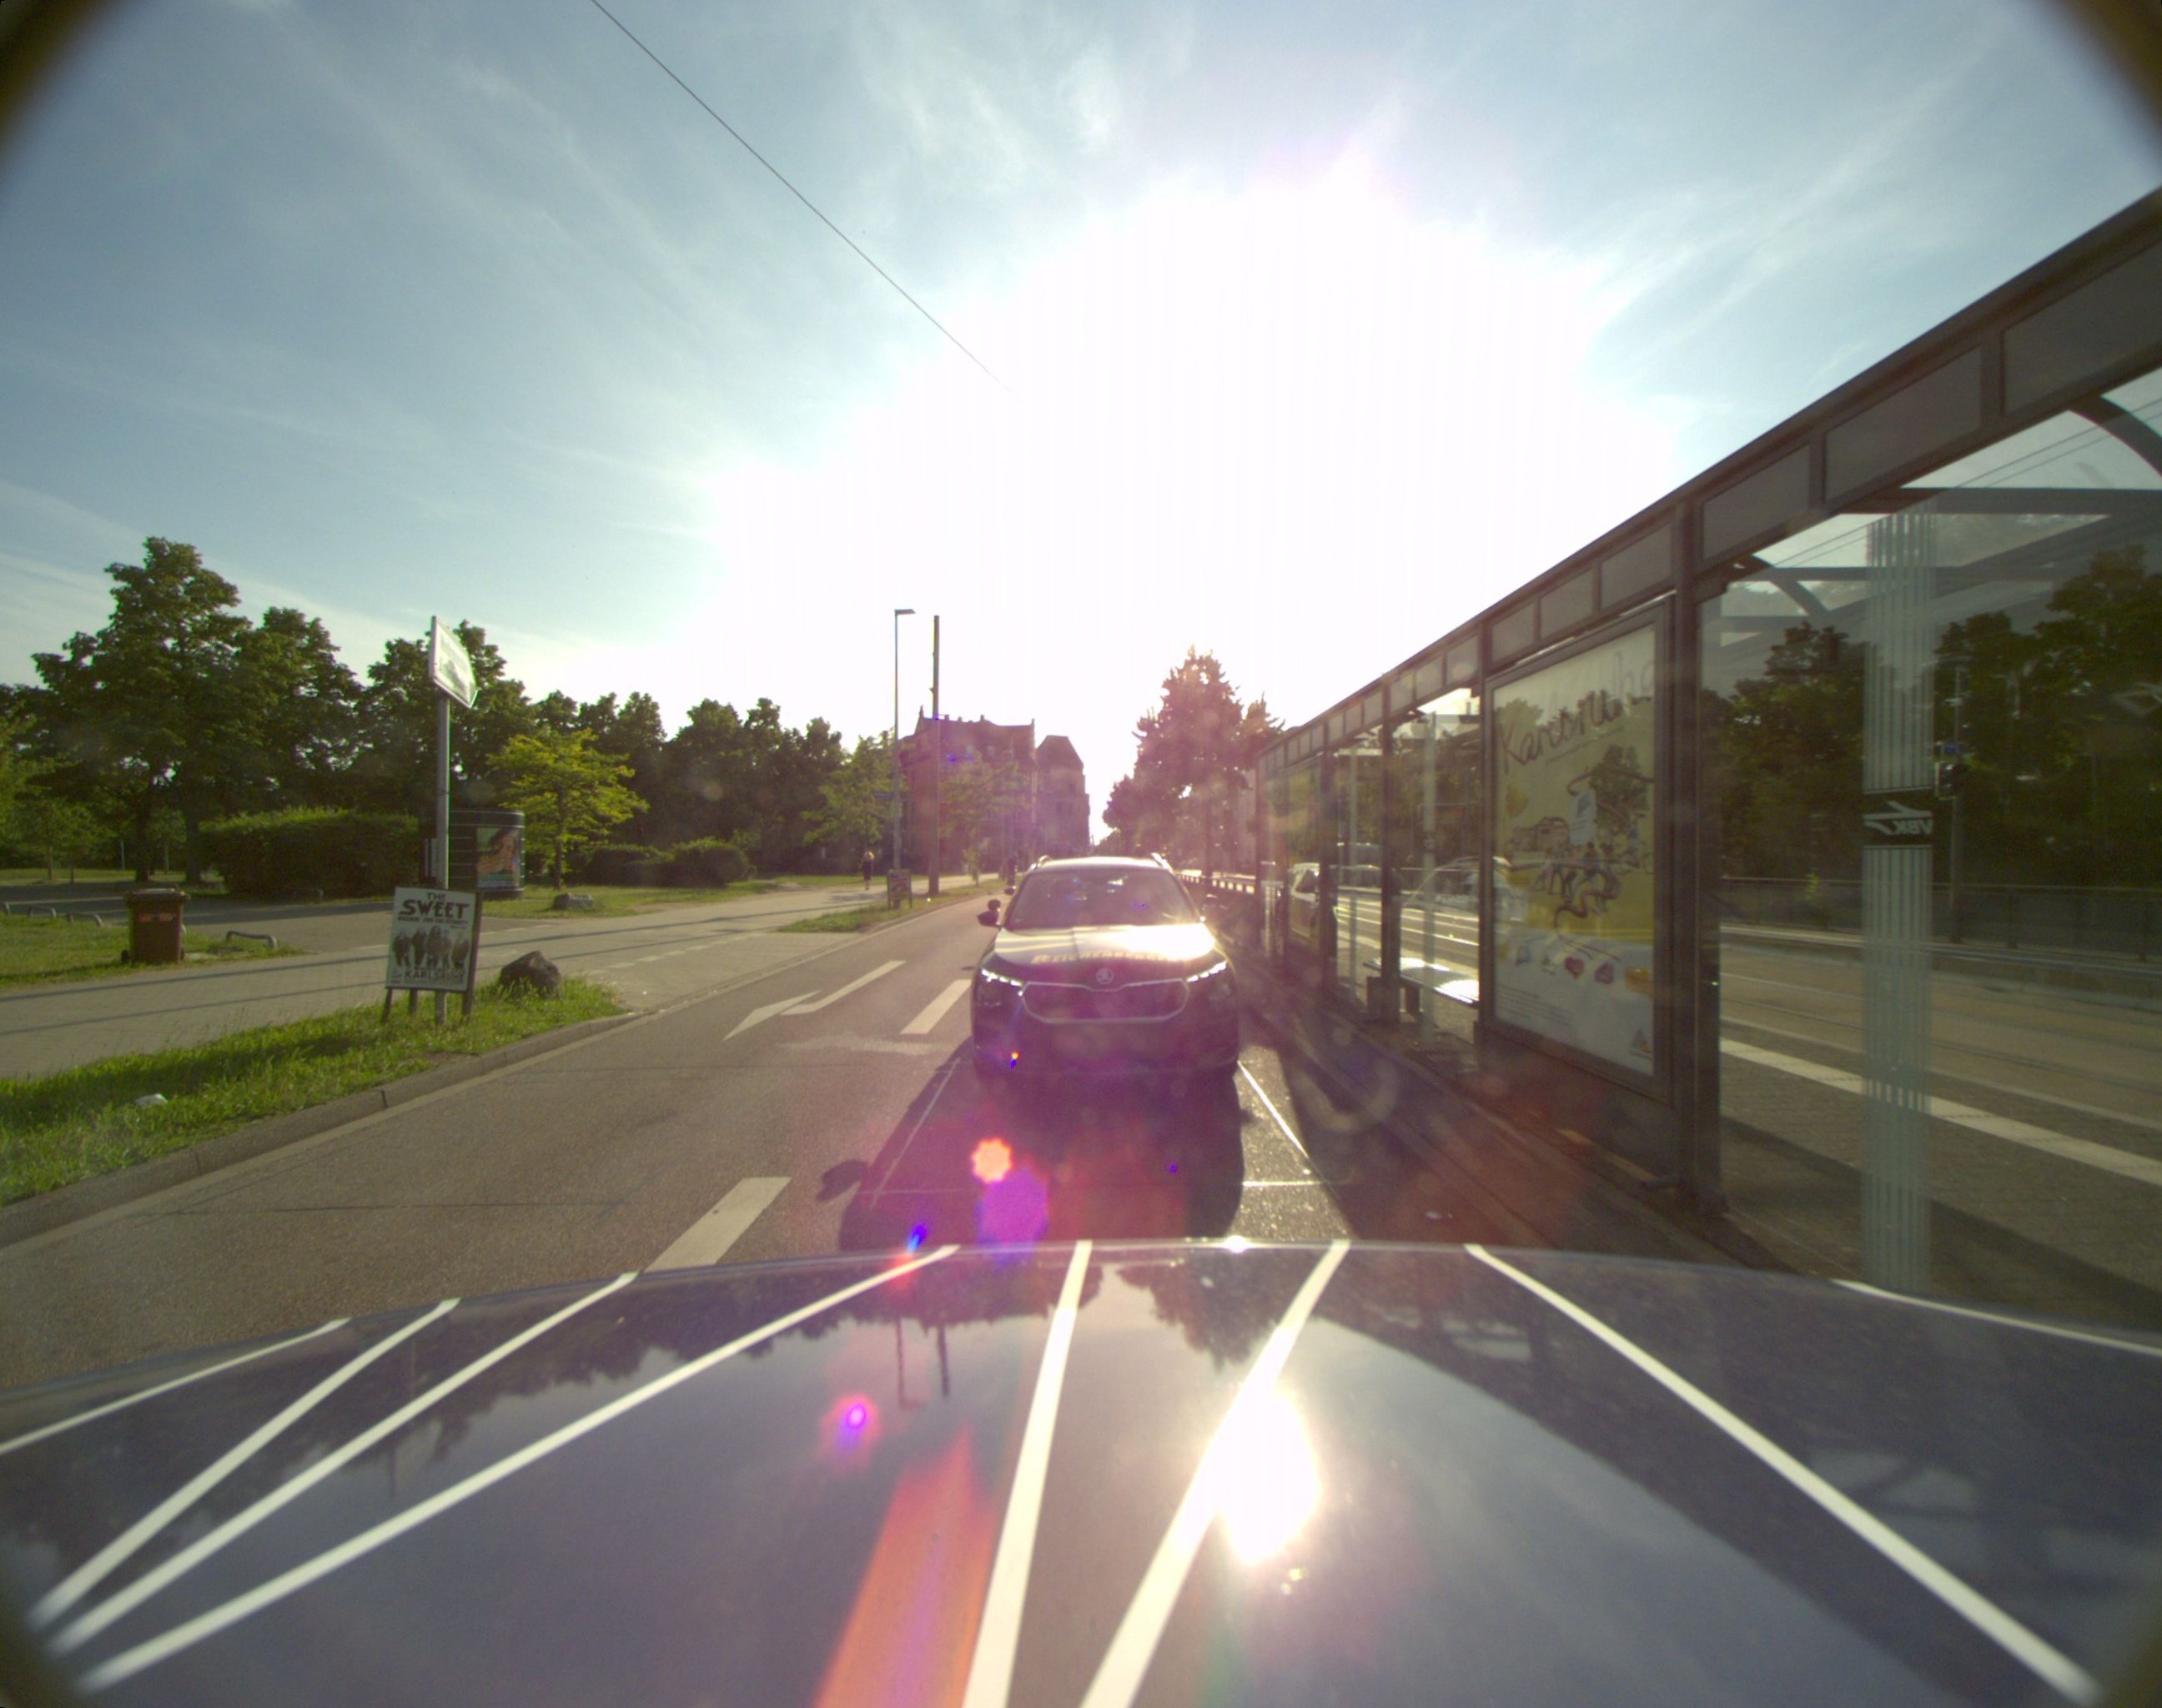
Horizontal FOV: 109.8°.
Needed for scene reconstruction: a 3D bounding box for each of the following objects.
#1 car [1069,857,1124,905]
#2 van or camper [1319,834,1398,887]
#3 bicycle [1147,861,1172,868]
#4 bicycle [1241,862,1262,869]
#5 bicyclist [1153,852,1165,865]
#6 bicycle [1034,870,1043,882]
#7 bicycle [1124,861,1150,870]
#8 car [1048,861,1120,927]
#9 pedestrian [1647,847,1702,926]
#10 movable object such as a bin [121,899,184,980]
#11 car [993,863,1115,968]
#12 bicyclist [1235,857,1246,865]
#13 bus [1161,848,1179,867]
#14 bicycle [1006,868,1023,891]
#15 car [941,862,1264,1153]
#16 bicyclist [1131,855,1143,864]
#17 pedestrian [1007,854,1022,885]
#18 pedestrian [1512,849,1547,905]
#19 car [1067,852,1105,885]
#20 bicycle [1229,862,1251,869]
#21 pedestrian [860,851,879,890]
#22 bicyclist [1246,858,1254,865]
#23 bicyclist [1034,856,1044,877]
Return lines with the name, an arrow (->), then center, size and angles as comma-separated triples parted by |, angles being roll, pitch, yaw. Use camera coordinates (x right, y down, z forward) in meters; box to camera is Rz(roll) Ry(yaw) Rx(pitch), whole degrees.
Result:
car -> 0.546, 0.898, 27.035 | 1.756, 1.534, 4.235 | -1, 0, 1
van or camper -> 16.880, 0.337, 46.733 | 2.527, 2.951, 6.411 | -2, 1, 1
bicycle -> 9.798, 1.308, 94.772 | 2.962, 0.974, 0.879 | 0, 0, -2
bicycle -> 20.957, 1.419, 93.424 | 2.536, 0.876, 0.631 | 0, 0, 6
bicyclist -> 9.741, 0.579, 94.803 | 1.402, 1.538, 0.888 | 0, 0, -1
bicycle -> -3.013, 1.547, 54.232 | 0.567, 0.789, 2.041 | 0, 0, 0
bicycle -> 6.677, 1.362, 90.932 | 2.962, 0.974, 0.879 | 0, 0, -2
car -> 0.112, 1.015, 20.967 | 1.756, 1.534, 4.235 | -1, 0, 1
pedestrian -> 12.951, 0.696, 16.596 | 0.621, 1.675, 0.618 | 3, 1, 1
movable object such as a bin -> -11.417, 1.031, 9.353 | 0.603, 0.912, 0.457 | 1, 1, 42
car -> -0.365, 0.931, 13.311 | 1.756, 1.451, 4.235 | -1, 0, 1
bicyclist -> 19.386, 0.831, 92.378 | 1.217, 1.018, 0.671 | 0, 0, 4
bus -> 17.465, 0.626, 149.313 | 2.437, 3.415, 9.261 | -2, 1, 1
bicycle -> -3.299, 1.234, 37.719 | 0.652, 1.040, 1.980 | -2, 1, 0
car -> 0.154, 0.876, 6.332 | 1.756, 1.534, 4.235 | -1, 0, 1
bicyclist -> 6.686, 0.659, 90.981 | 1.402, 1.000, 0.888 | 0, 0, -1
pedestrian -> -3.318, 0.759, 37.821 | 0.637, 1.512, 0.845 | -2, 1, 0
pedestrian -> 13.766, 0.691, 23.340 | 0.621, 1.675, 0.618 | 3, 1, 1
car -> 0.265, 0.679, 38.493 | 1.756, 1.534, 4.235 | -1, 0, 1
bicycle -> 19.357, 1.430, 92.416 | 2.536, 0.876, 0.631 | 0, 0, 5
pedestrian -> -9.353, 0.734, 33.570 | 0.621, 1.675, 0.618 | -2, 1, 1
bicyclist -> 20.750, 0.900, 93.451 | 0.896, 0.908, 0.617 | 0, 0, 7
bicyclist -> -2.980, 0.886, 54.214 | 0.689, 1.445, 1.111 | 0, 0, 0
